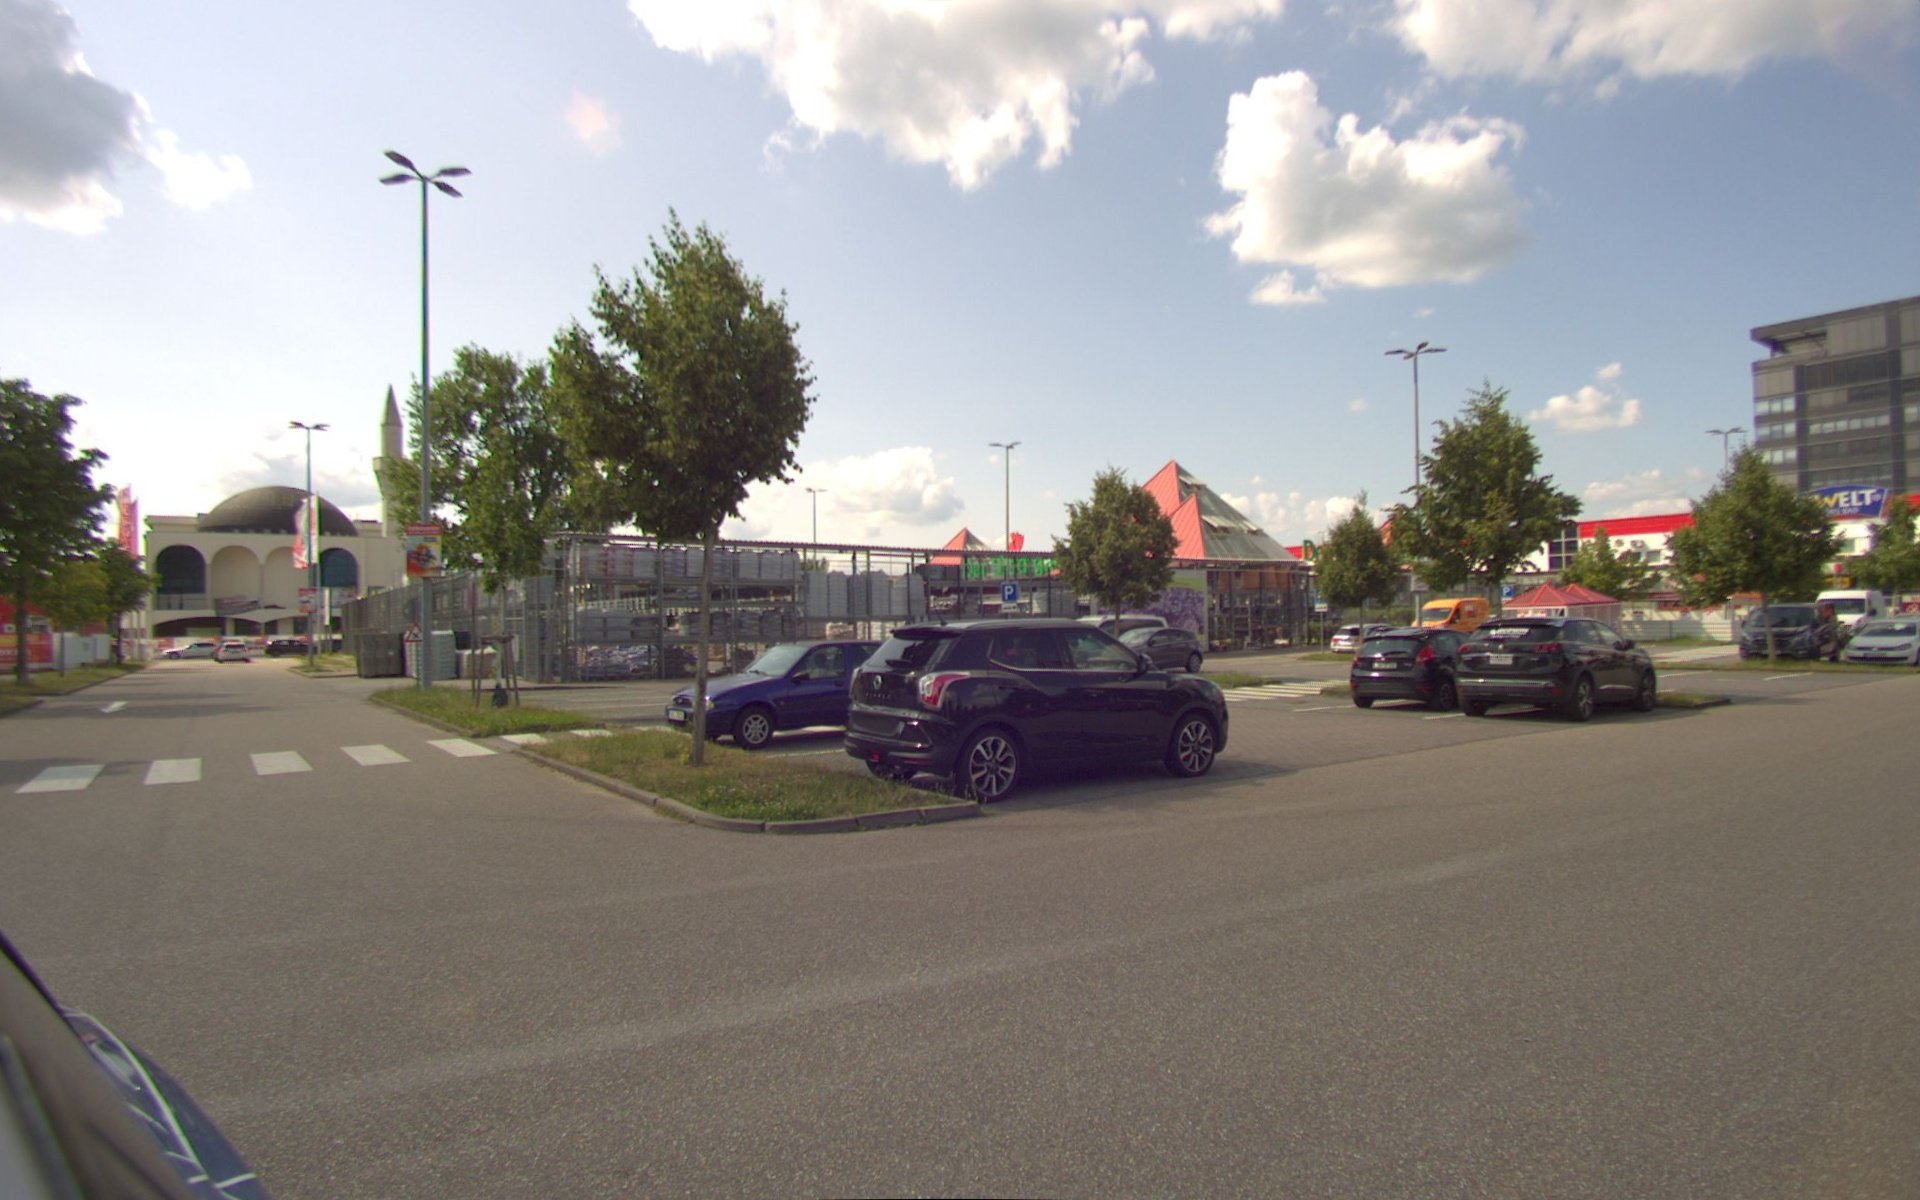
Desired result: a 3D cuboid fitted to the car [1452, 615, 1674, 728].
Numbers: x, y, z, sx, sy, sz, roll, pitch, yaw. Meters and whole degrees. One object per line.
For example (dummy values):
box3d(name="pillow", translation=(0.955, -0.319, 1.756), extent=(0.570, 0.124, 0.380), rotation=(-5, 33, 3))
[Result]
box3d(name="car", translation=(10.002, 1.088, 16.694), extent=(4.019, 1.637, 1.787), rotation=(0, -2, -38))

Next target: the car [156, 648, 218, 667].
box3d(name="car", translation=(-66.222, 4.899, 86.800), extent=(4.124, 1.521, 1.796), rotation=(0, -2, -36))

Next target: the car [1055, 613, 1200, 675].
box3d(name="car", translation=(5.913, 1.485, 35.367), extent=(5.102, 2.029, 2.004), rotation=(0, -2, -37))

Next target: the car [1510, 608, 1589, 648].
box3d(name="car", translation=(31.987, 1.503, 54.871), extent=(4.729, 2.029, 2.005), rotation=(1, 1, -37))

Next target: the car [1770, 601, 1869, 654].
box3d(name="car", translation=(34.606, 1.111, 40.729), extent=(3.933, 2.029, 2.005), rotation=(0, -2, -34))

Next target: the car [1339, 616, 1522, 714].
box3d(name="car", translation=(8.873, 1.151, 18.979), extent=(3.650, 1.637, 1.786), rotation=(1, -2, -42))

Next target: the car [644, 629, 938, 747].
box3d(name="car", translation=(-2.272, 1.121, 14.059), extent=(3.703, 1.378, 1.624), rotation=(0, -2, -40))

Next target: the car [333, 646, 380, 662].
box3d(name="car", translation=(-56.096, 5.020, 94.122), extent=(3.648, 1.377, 1.655), rotation=(1, -3, -34))

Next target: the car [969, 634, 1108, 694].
box3d(name="car", translation=(2.076, 1.638, 26.590), extent=(3.302, 1.415, 1.814), rotation=(0, -2, -40))

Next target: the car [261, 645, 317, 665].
box3d(name="car", translation=(-58.613, 4.791, 88.464), extent=(3.936, 1.658, 1.910), rotation=(0, -2, -39))

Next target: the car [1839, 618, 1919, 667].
box3d(name="car", translation=(28.321, 1.250, 30.621), extent=(3.502, 1.397, 1.748), rotation=(0, -2, -34))

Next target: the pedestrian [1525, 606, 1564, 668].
box3d(name="pedestrian", translation=(19.622, 1.240, 33.985), extent=(0.900, 2.029, 0.819), rotation=(1, -3, -38))

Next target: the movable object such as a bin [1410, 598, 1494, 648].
box3d(name="movable object such as a bin", translation=(26.205, 1.220, 53.825), extent=(5.255, 2.513, 2.133), rotation=(1, -3, -42))

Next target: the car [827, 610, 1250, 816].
box3d(name="car", translation=(0.843, 0.947, 9.938), extent=(3.897, 1.637, 1.740), rotation=(0, -2, -35))

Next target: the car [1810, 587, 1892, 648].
box3d(name="car", translation=(40.387, 0.799, 45.850), extent=(4.262, 2.656, 2.242), rotation=(1, -2, -42))

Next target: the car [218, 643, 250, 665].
box3d(name="car", translation=(-51.601, 3.829, 71.944), extent=(1.779, 1.476, 4.339), rotation=(0, -2, -35))

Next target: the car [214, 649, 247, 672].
box3d(name="car", translation=(-55.746, 4.605, 77.272), extent=(1.890, 1.630, 4.382), rotation=(1, -3, -38))
